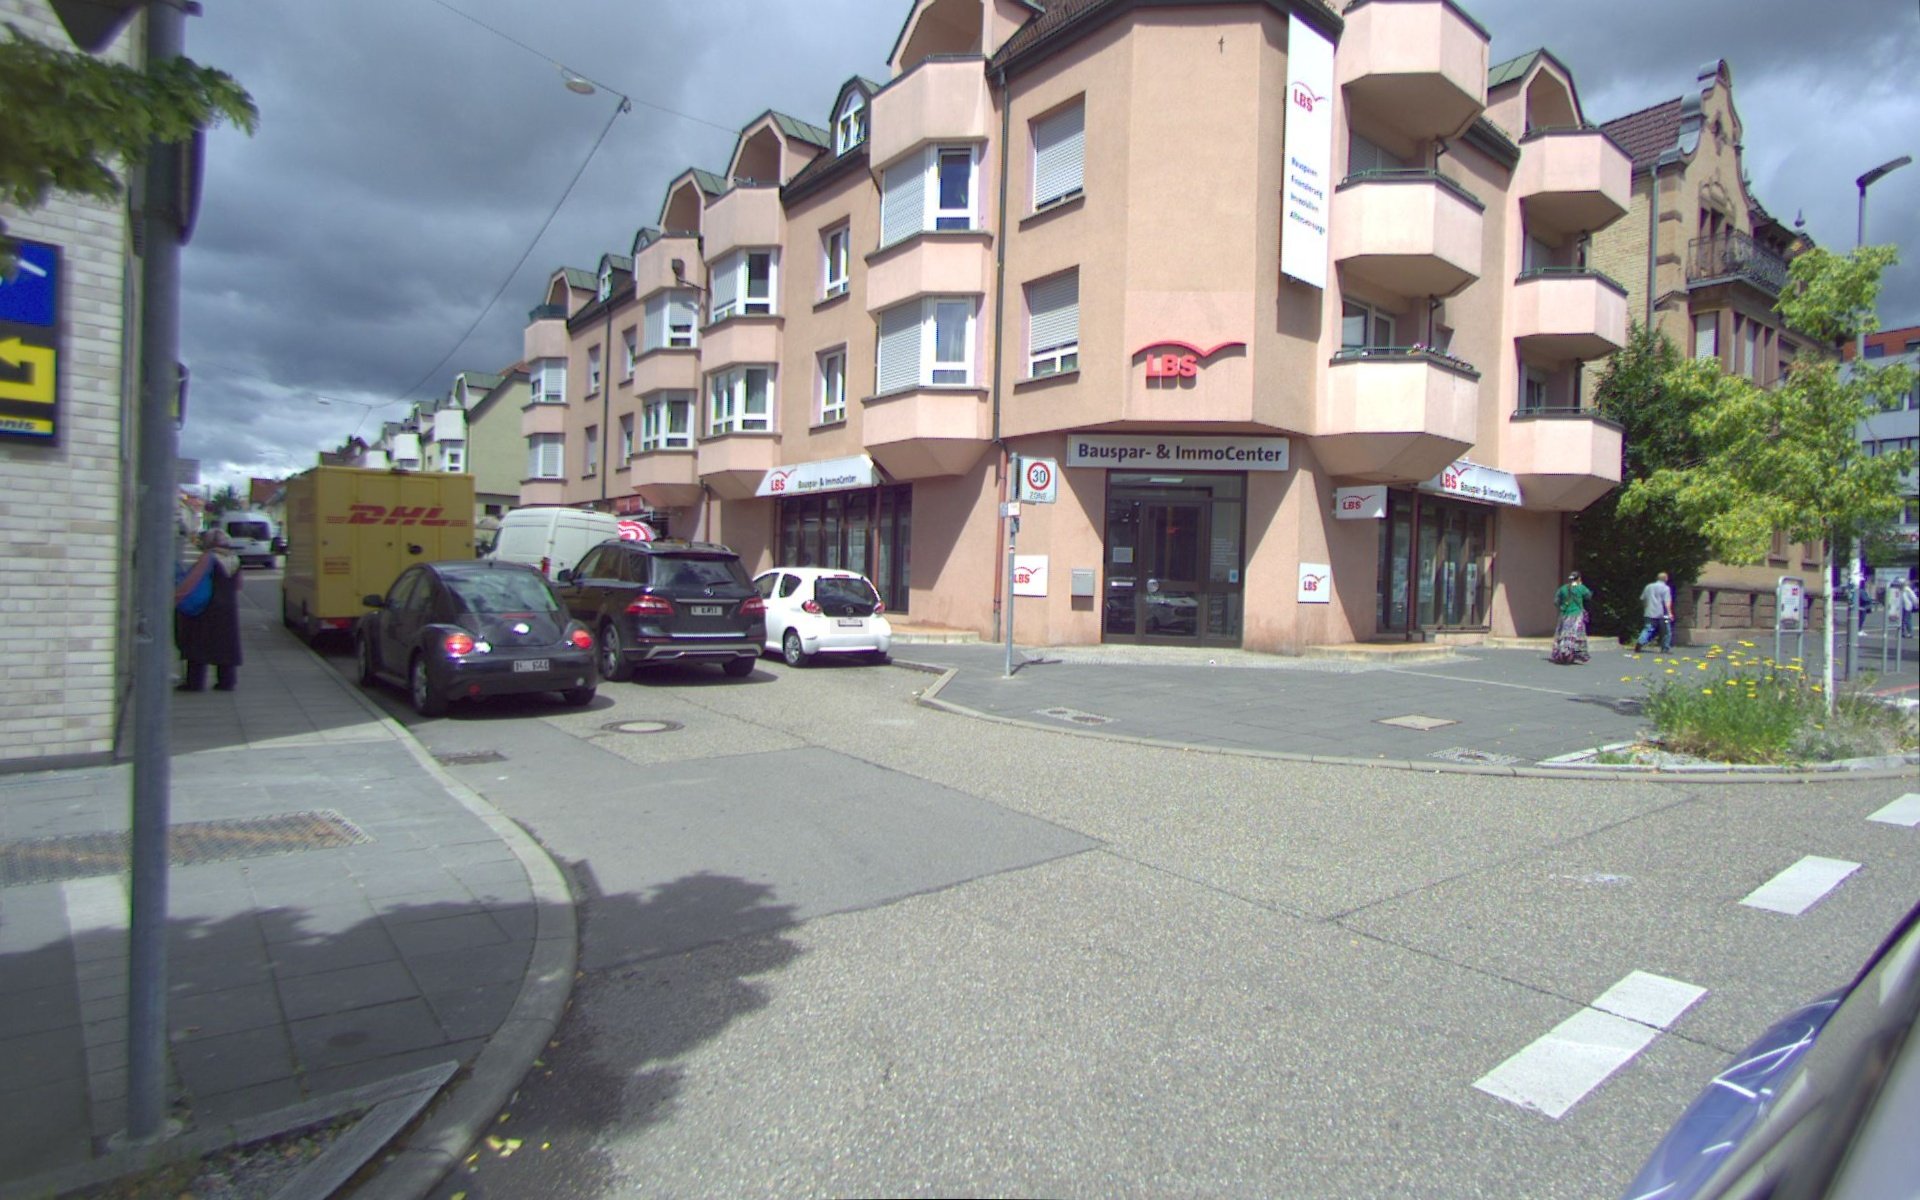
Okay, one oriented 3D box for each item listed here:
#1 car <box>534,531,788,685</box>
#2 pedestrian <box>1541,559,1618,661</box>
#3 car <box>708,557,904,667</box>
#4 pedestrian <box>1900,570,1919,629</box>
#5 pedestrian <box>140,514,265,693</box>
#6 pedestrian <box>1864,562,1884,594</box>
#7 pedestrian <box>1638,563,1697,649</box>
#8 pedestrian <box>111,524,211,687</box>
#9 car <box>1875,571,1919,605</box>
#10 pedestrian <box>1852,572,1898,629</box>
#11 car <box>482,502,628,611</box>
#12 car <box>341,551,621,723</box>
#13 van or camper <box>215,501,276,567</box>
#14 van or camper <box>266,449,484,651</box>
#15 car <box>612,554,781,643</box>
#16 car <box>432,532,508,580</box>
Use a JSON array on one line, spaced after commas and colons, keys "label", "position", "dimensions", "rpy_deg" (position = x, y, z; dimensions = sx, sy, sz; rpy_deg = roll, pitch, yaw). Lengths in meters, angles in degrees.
[{"label": "car", "position": [-4.305, -0.021, 14.022], "dimensions": [1.962, 1.768, 4.533], "rpy_deg": [1, 3, -36]}, {"label": "pedestrian", "position": [10.520, 0.157, 17.183], "dimensions": [0.910, 1.659, 0.746], "rpy_deg": [1, 3, -37]}, {"label": "car", "position": [-2.559, 0.117, 16.274], "dimensions": [1.686, 1.495, 3.392], "rpy_deg": [1, 3, -37]}, {"label": "pedestrian", "position": [27.635, -0.009, 29.087], "dimensions": [0.725, 1.679, 0.699], "rpy_deg": [-1, 1, -24]}, {"label": "pedestrian", "position": [-7.507, 0.024, 10.054], "dimensions": [0.548, 1.692, 0.810], "rpy_deg": [0, 1, 21]}, {"label": "pedestrian", "position": [55.431, -1.324, 61.371], "dimensions": [0.751, 1.937, 0.686], "rpy_deg": [-1, 1, -26]}, {"label": "pedestrian", "position": [14.425, 0.099, 20.642], "dimensions": [0.928, 1.706, 0.718], "rpy_deg": [-1, 3, -39]}, {"label": "pedestrian", "position": [-8.099, 0.049, 10.269], "dimensions": [0.516, 1.593, 0.599], "rpy_deg": [0, 1, 21]}, {"label": "car", "position": [47.505, -0.572, 49.266], "dimensions": [1.960, 1.672, 4.004], "rpy_deg": [0, 0, -30]}, {"label": "pedestrian", "position": [26.768, 0.004, 29.616], "dimensions": [0.661, 1.660, 0.741], "rpy_deg": [-1, 1, -10]}, {"label": "car", "position": [-10.877, -1.173, 26.842], "dimensions": [2.088, 2.585, 5.904], "rpy_deg": [1, 3, -37]}, {"label": "car", "position": [-5.426, 0.268, 11.217], "dimensions": [1.753, 1.495, 3.901], "rpy_deg": [0, 3, -42]}, {"label": "van or camper", "position": [-32.620, -2.930, 46.112], "dimensions": [2.016, 2.741, 5.160], "rpy_deg": [-1, 1, -38]}, {"label": "van or camper", "position": [-10.162, -0.923, 17.231], "dimensions": [2.236, 2.769, 6.875], "rpy_deg": [-1, 4, -38]}, {"label": "car", "position": [-5.257, -0.090, 19.836], "dimensions": [1.798, 1.495, 4.022], "rpy_deg": [1, 3, -37]}, {"label": "car", "position": [-16.565, -1.500, 34.130], "dimensions": [1.601, 1.495, 3.777], "rpy_deg": [1, 3, -37]}]
